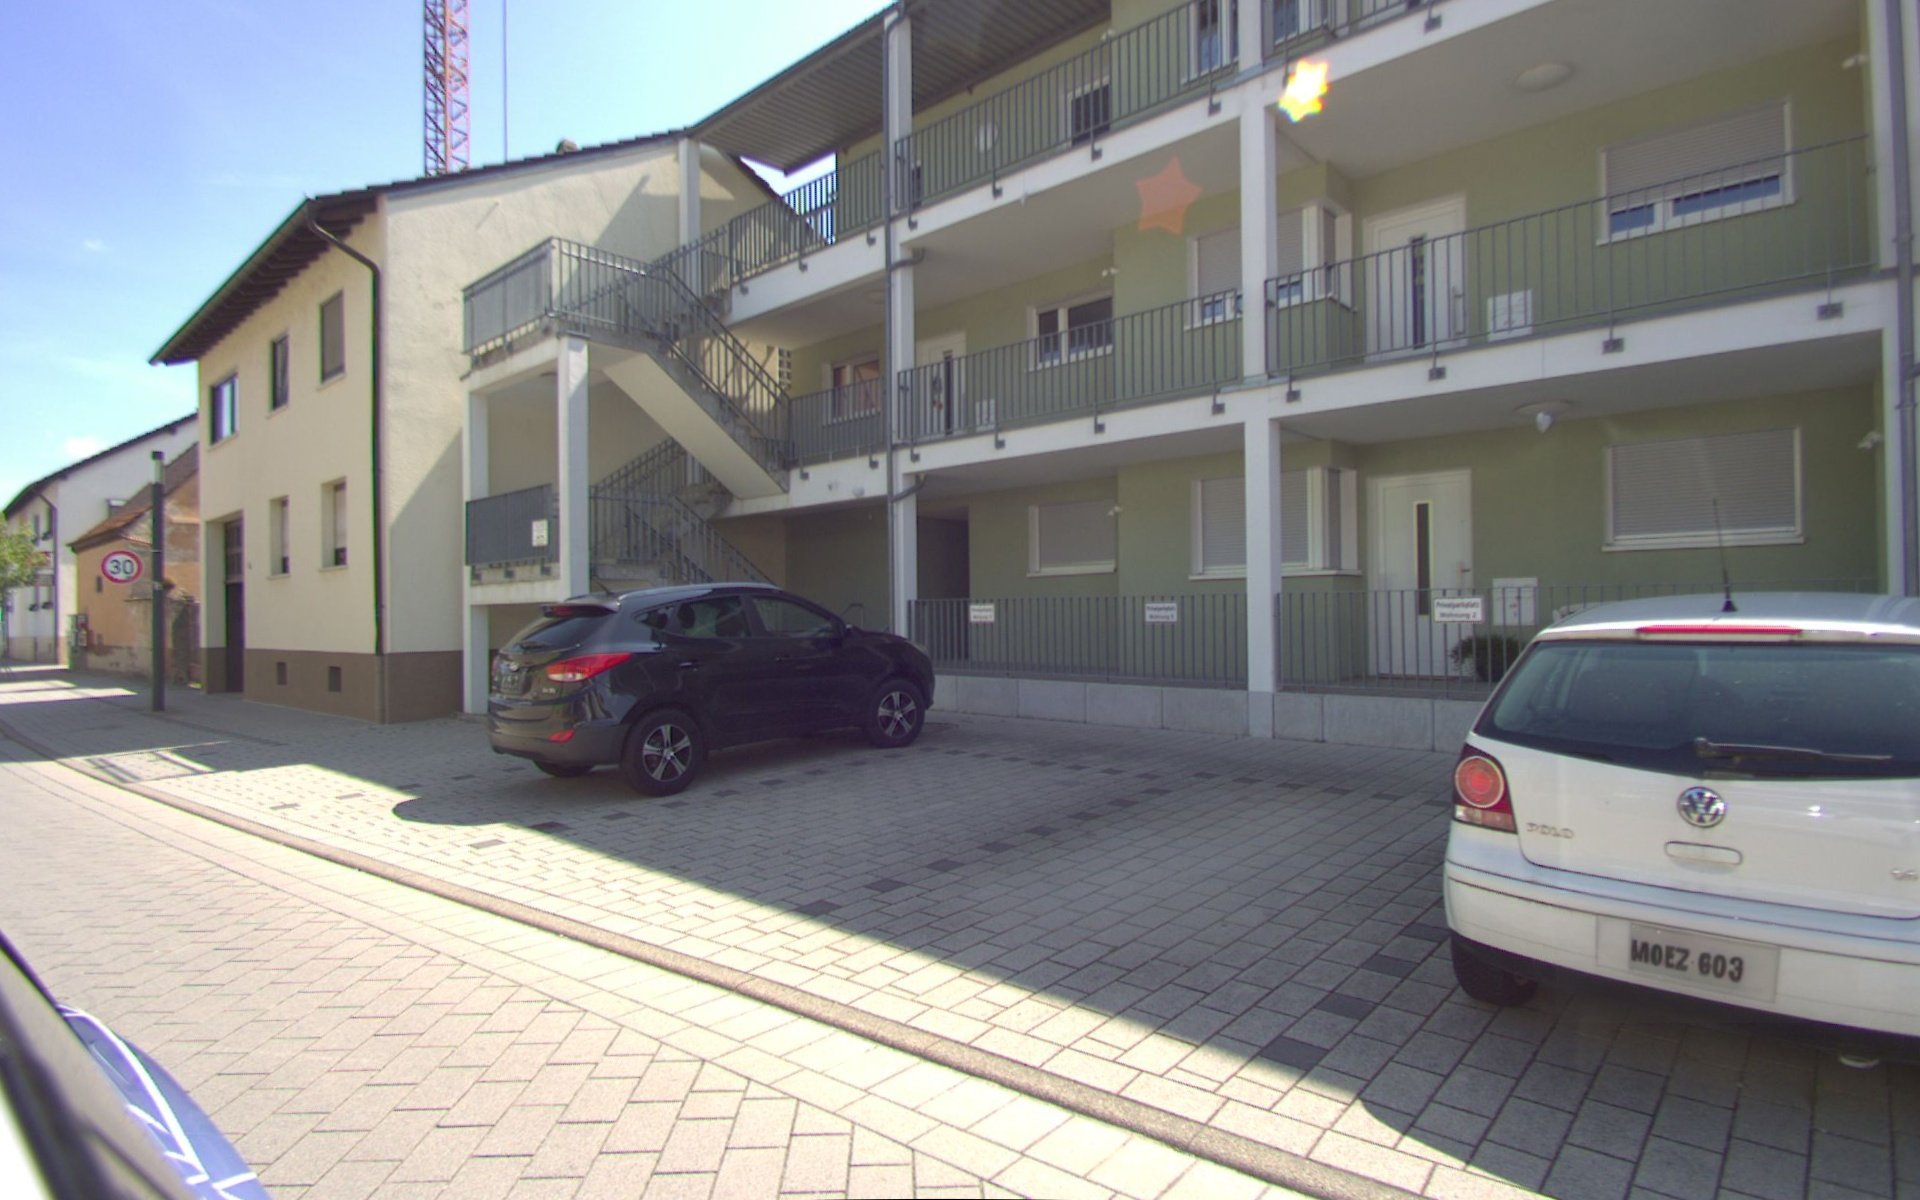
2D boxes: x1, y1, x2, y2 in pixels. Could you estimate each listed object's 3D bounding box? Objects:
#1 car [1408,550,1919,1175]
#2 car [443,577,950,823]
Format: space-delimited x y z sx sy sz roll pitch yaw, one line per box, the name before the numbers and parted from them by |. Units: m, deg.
car | 3.439 0.585 4.081 1.751 1.514 3.858 -2 1 43
car | -2.190 0.696 9.299 1.784 1.671 4.173 -2 0 43
